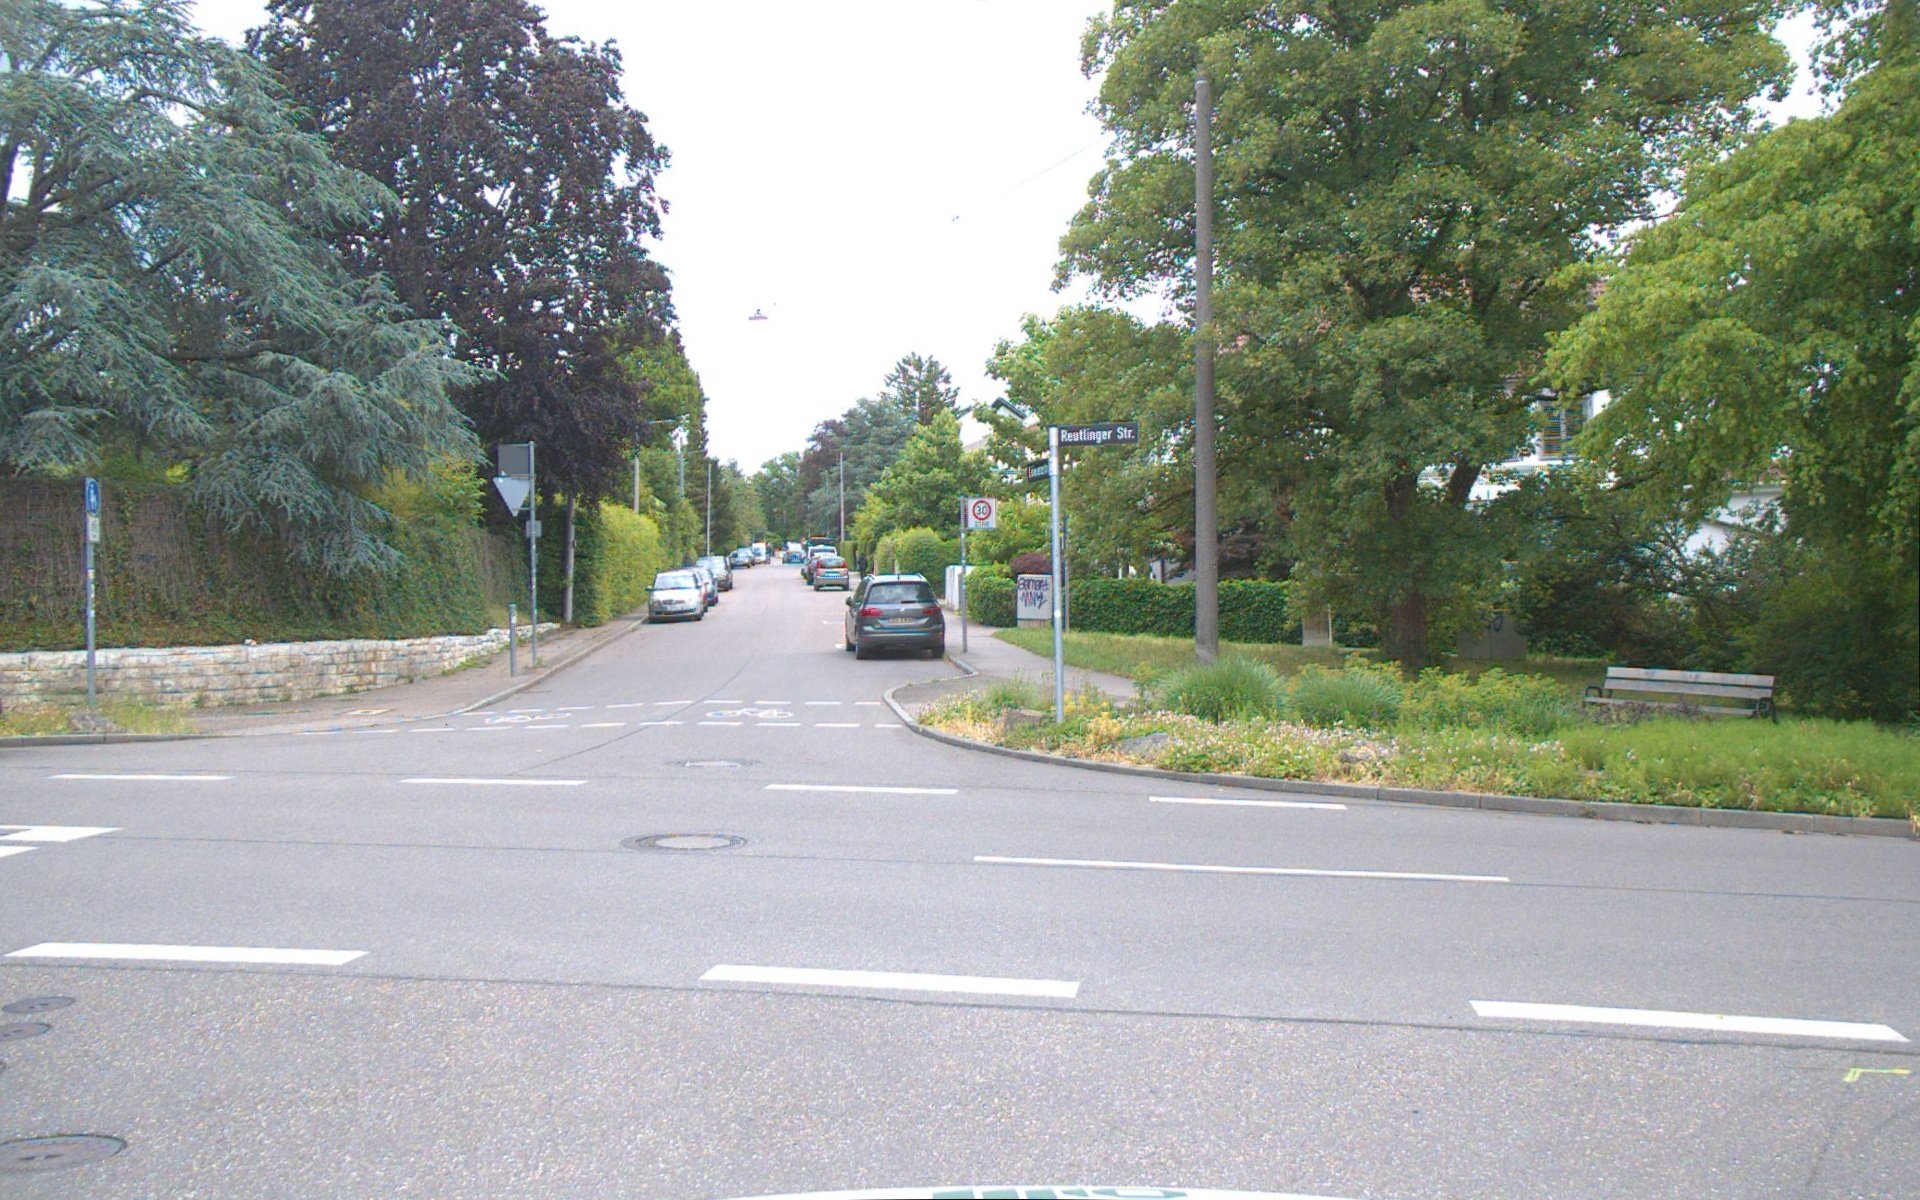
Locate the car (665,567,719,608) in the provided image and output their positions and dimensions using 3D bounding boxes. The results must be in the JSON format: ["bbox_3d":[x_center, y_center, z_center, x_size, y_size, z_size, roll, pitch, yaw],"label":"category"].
[{"bbox_3d":[-10.068,-0.474,62.333,1.910,1.467,3.993,-1,1,-8],"label":"car"}]

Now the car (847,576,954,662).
[{"bbox_3d":[-1.239,0.334,32.928,1.783,1.563,3.994,-1,1,-7],"label":"car"}]

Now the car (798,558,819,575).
[{"bbox_3d":[-16.818,-3.657,183.476,1.905,1.827,4.185,1,1,-10],"label":"car"}]

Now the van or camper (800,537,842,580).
[{"bbox_3d":[-8.228,-2.427,97.504,2.073,2.447,5.235,-1,1,-9],"label":"van or camper"}]

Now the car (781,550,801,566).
[{"bbox_3d":[-18.018,-4.465,175.895,1.783,1.601,3.989,-1,1,-11],"label":"car"}]

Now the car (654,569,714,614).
[{"bbox_3d":[-9.516,-0.318,57.212,1.910,1.467,3.993,-1,1,-8],"label":"car"}]

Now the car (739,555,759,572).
[{"bbox_3d":[-19.093,-3.261,149.449,1.682,1.488,3.652,1,1,-6],"label":"car"}]

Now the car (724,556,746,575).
[{"bbox_3d":[-19.005,-2.895,139.816,1.682,1.488,3.652,1,1,-6],"label":"car"}]

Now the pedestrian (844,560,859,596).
[{"bbox_3d":[-5.840,-1.175,89.109,0.742,1.904,0.619,1,0,-7],"label":"pedestrian"}]

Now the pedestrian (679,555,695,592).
[{"bbox_3d":[-15.345,-1.498,93.046,0.838,2.049,0.870,1,0,-12],"label":"pedestrian"}]

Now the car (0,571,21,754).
[{"bbox_3d":[-10.716,0.577,14.438,4.261,1.640,1.831,0,-1,-36],"label":"car"}]

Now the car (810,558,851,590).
[{"bbox_3d":[-5.981,-1.193,76.099,1.579,1.438,3.466,1,1,-9],"label":"car"}]

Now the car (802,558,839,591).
[{"bbox_3d":[-7.192,-1.296,85.089,1.714,1.668,3.721,-1,1,-8],"label":"car"}]

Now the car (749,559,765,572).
[{"bbox_3d":[-21.735,-3.690,177.335,1.624,1.358,3.776,1,1,-6],"label":"car"}]

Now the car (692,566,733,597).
[{"bbox_3d":[-11.974,-0.901,80.081,1.910,1.467,3.993,-1,1,-8],"label":"car"}]

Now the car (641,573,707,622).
[{"bbox_3d":[-8.969,-0.095,52.099,1.910,1.467,3.993,-1,1,-8],"label":"car"}]
